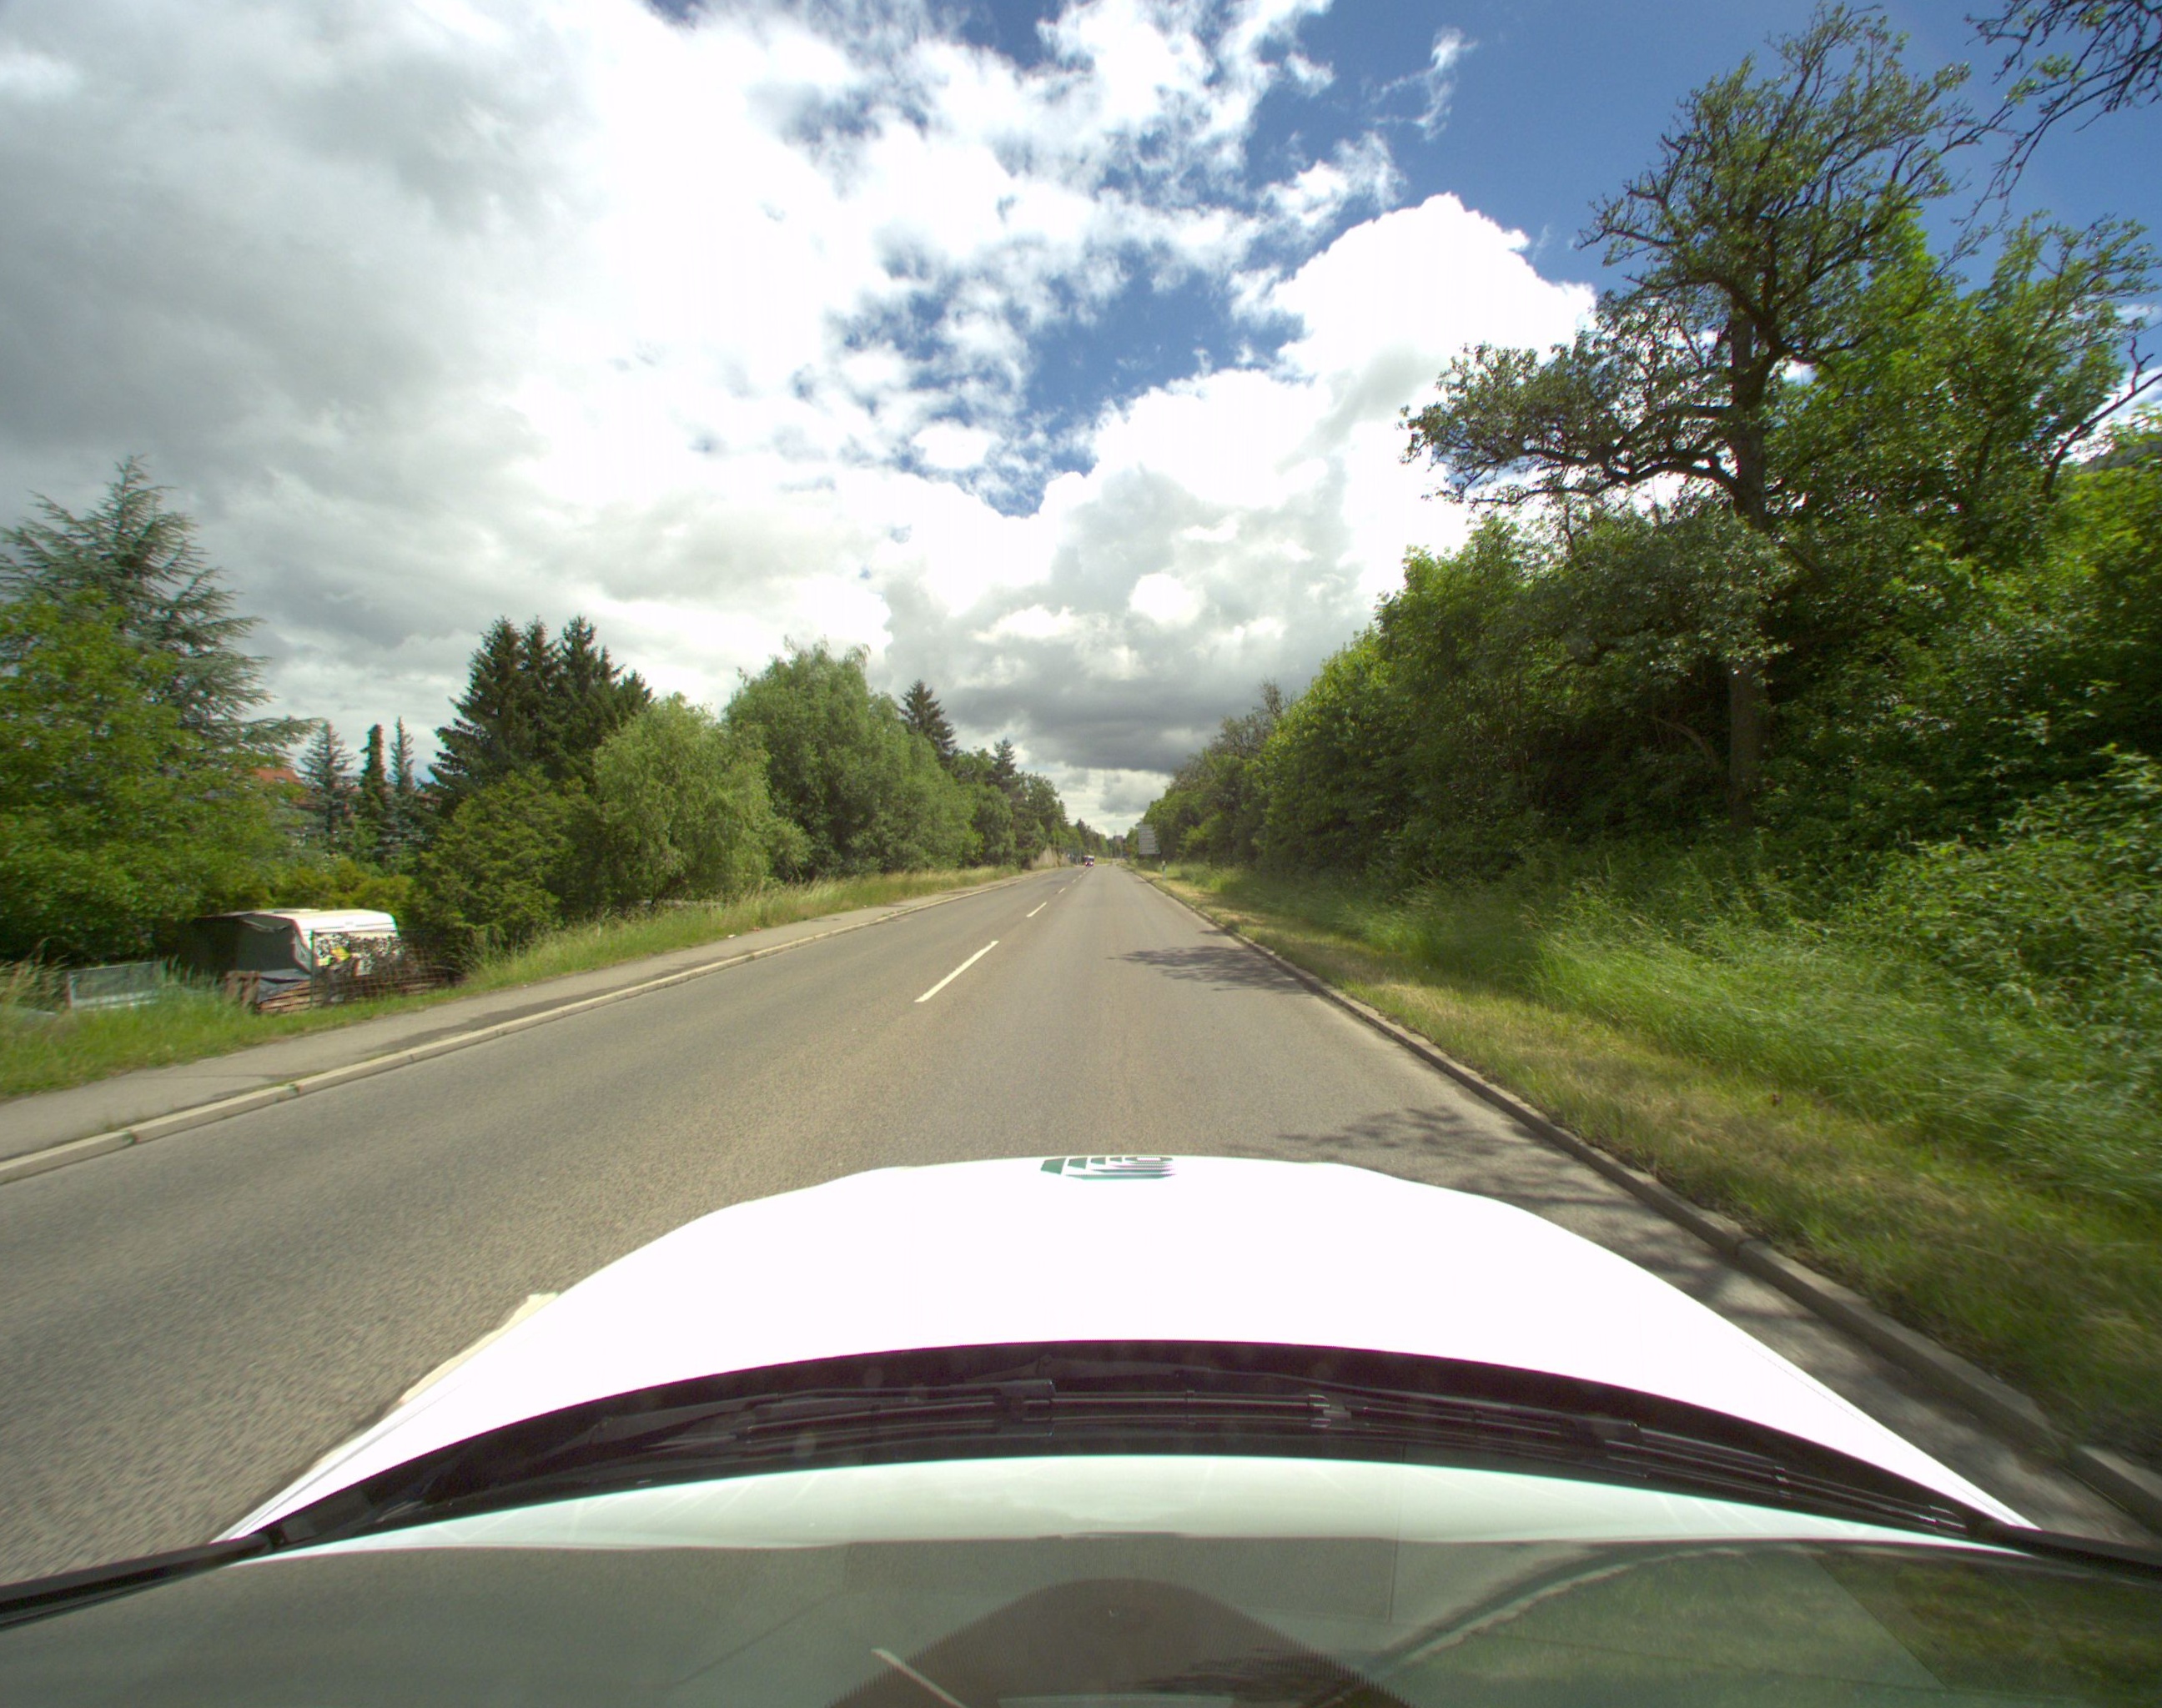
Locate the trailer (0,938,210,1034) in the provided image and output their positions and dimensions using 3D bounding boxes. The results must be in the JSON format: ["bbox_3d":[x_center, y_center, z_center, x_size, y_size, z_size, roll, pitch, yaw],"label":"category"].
[{"bbox_3d":[-20.944,2.728,16.898,3.962,1.555,2.006,-4,-1,10],"label":"trailer"}]

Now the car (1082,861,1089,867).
[{"bbox_3d":[1.200,2.439,205.748,1.745,1.464,4.001,-3,-1,1],"label":"car"}]

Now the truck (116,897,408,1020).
[{"bbox_3d":[-20.936,2.646,20.904,6.164,2.609,2.006,-4,-1,10],"label":"truck"}]
